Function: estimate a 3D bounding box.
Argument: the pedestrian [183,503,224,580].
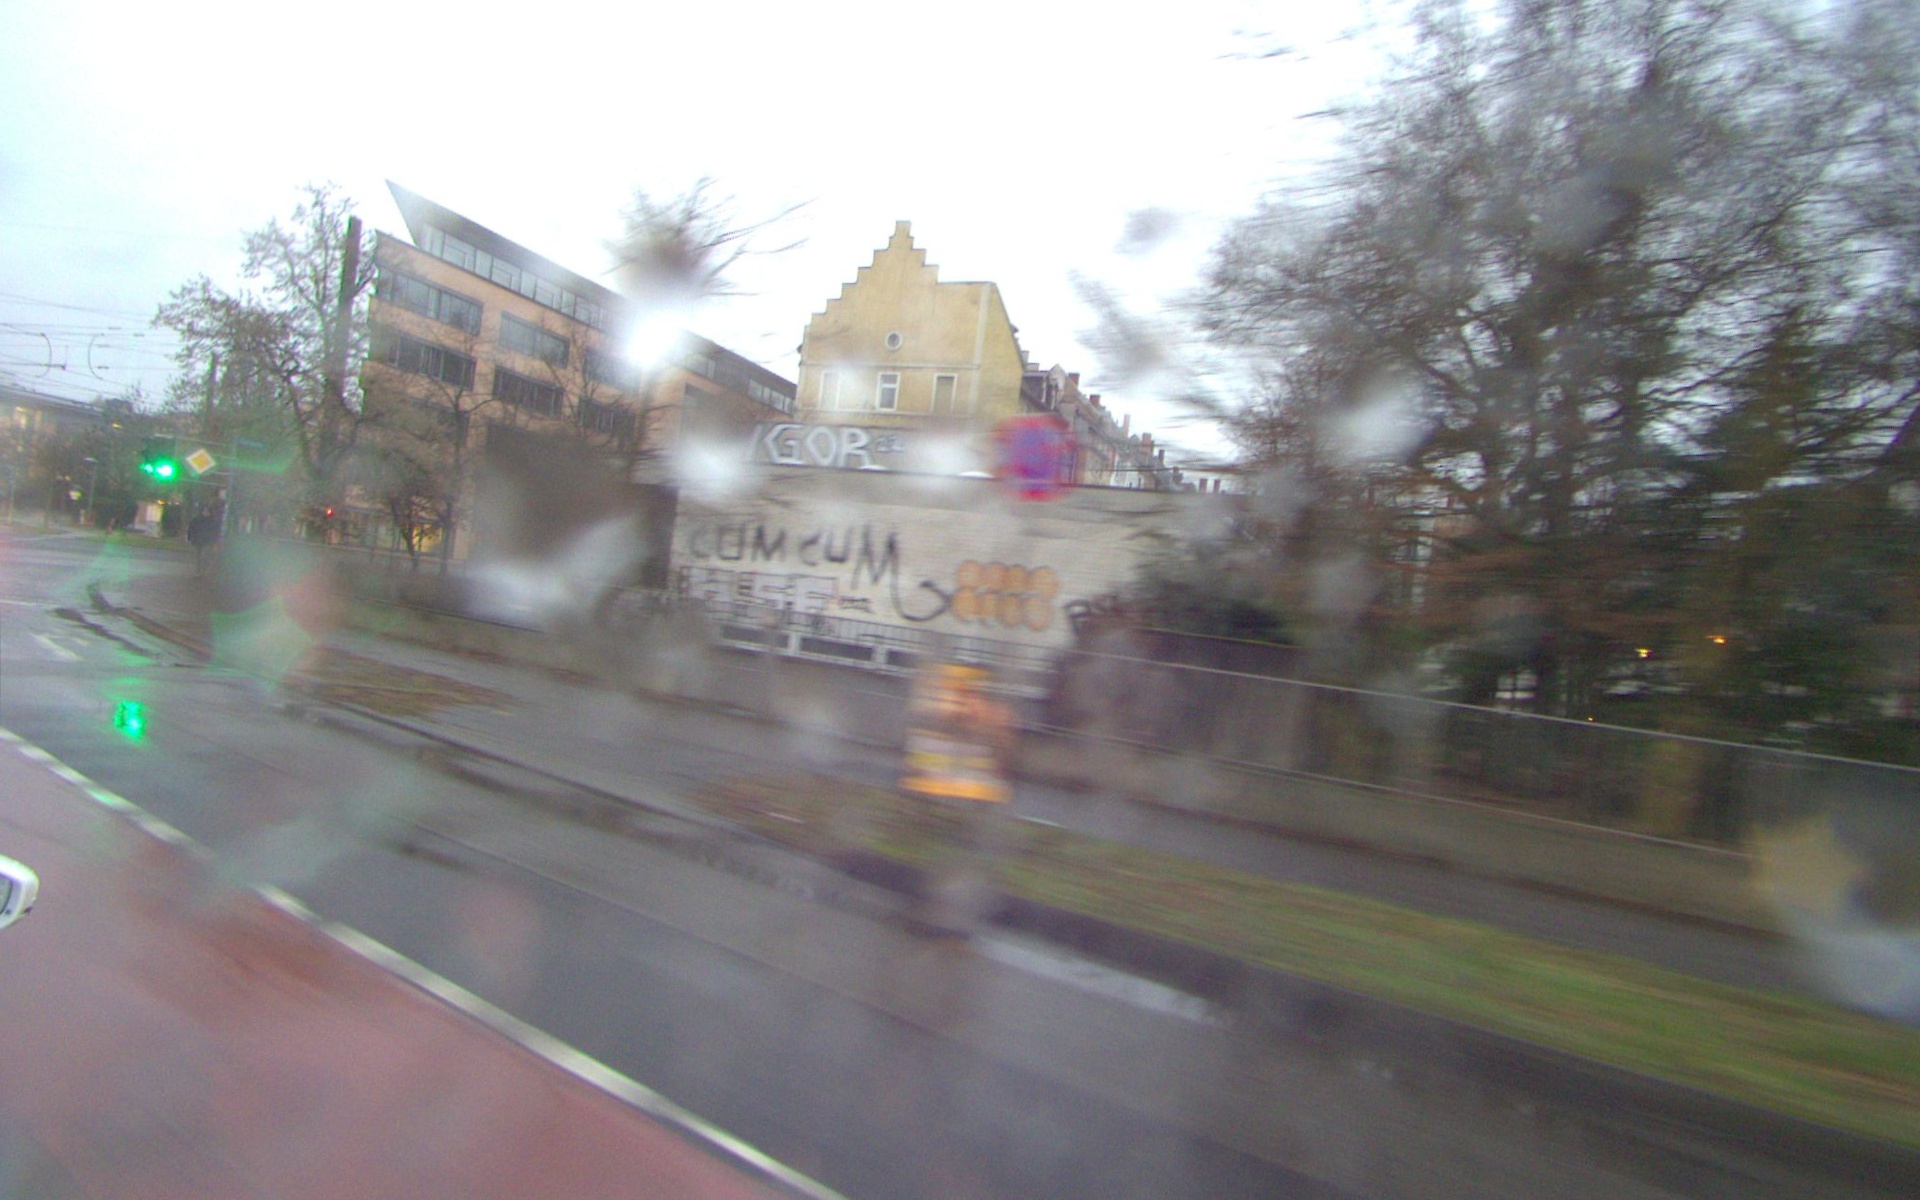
[{"bbox_3d":[-19.486,-1.503,25.901,0.571,1.859,0.675,10,0,-40],"label":"pedestrian"}]
